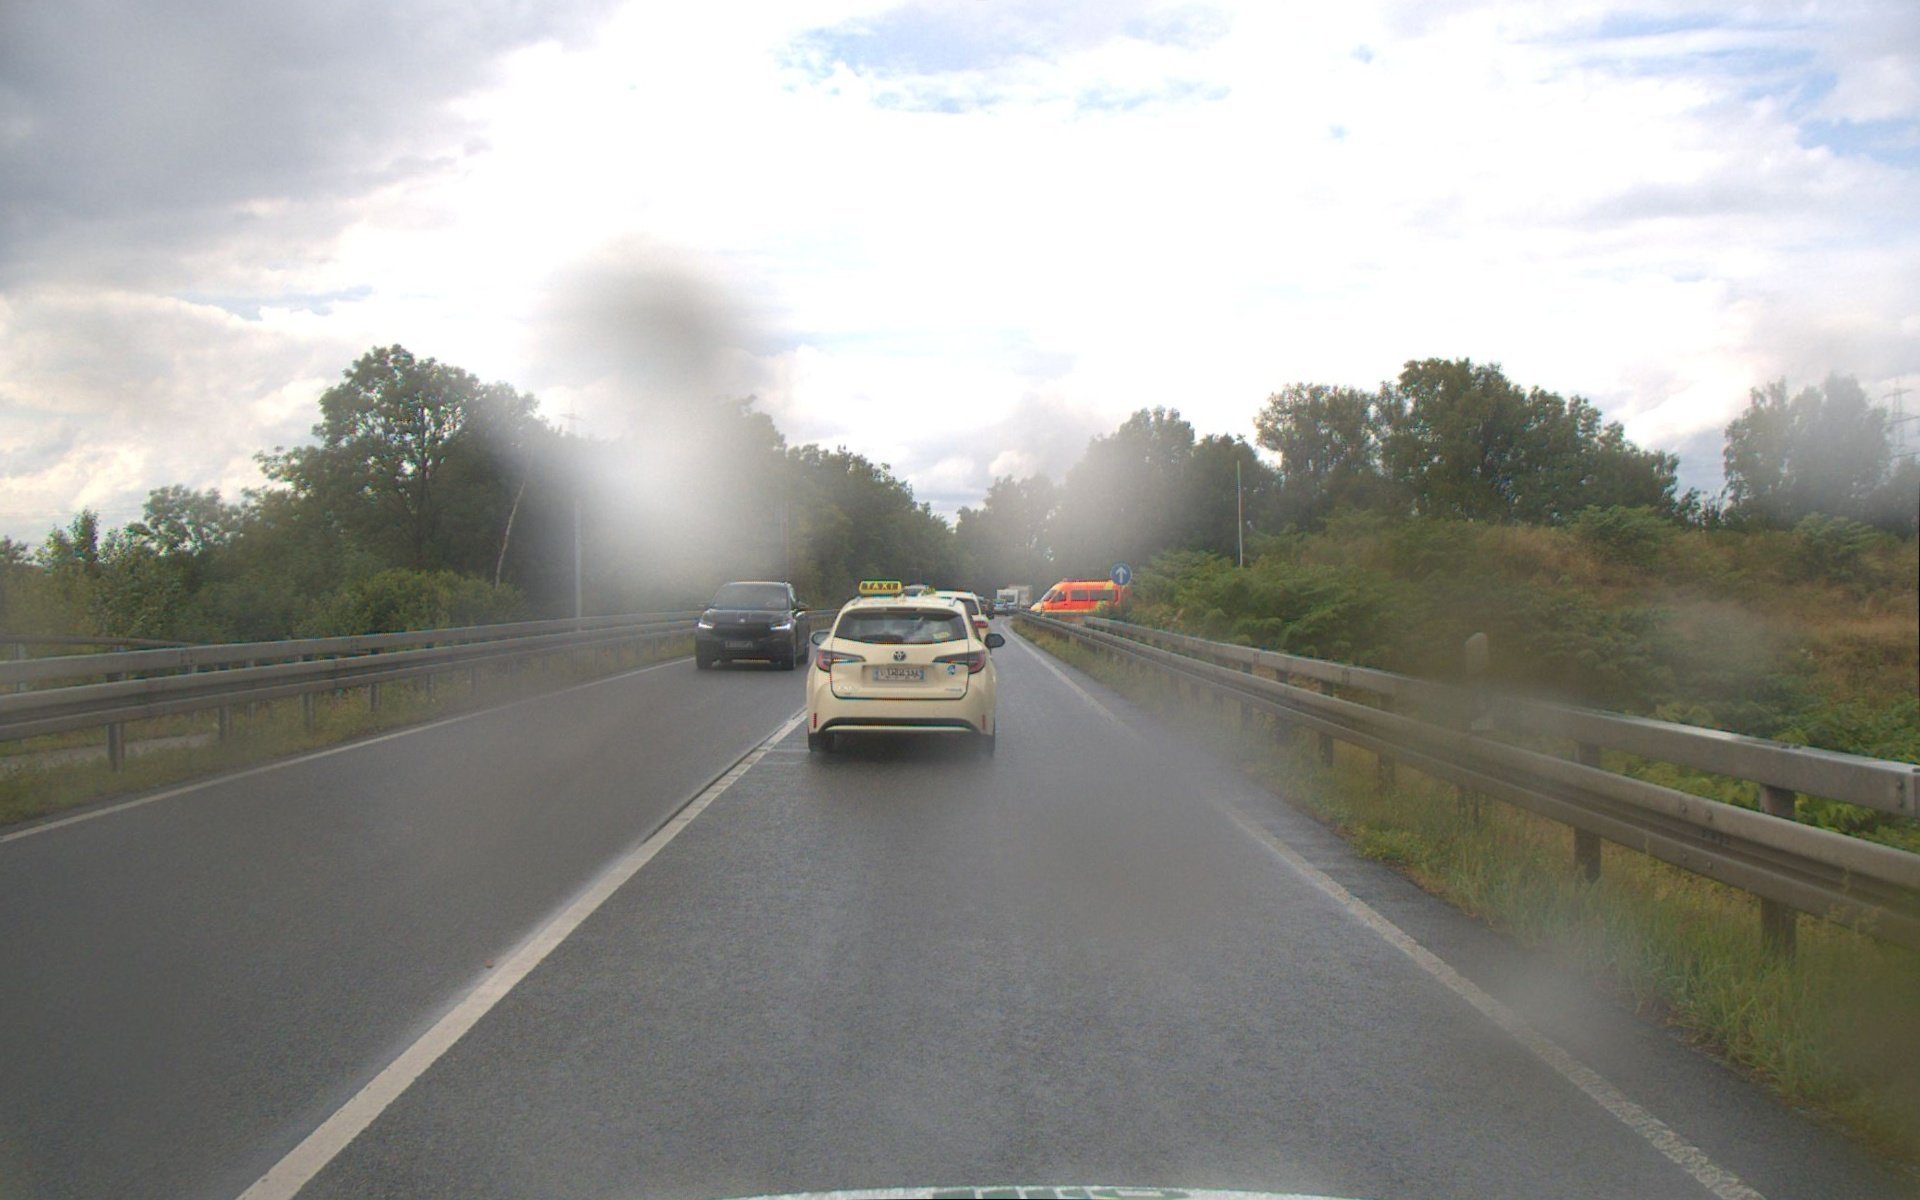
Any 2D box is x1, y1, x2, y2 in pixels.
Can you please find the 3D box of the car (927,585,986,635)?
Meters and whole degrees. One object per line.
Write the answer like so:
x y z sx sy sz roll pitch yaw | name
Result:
-0.143 0.283 53.467 1.817 1.468 4.170 1 1 -1 | car

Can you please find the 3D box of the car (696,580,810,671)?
-3.898 0.431 31.749 1.743 1.588 4.301 1 1 -2 | car

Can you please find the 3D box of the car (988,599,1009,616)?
3.493 0.693 149.856 1.816 1.468 4.172 1 1 3 | car

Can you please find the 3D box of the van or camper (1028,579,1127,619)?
7.027 -0.049 99.007 5.585 2.280 2.012 1 1 -16 | van or camper

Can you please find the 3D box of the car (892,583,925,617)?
-3.359 -0.031 108.707 1.953 2.165 4.895 1 1 0 | car

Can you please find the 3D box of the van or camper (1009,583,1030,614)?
7.195 -0.246 199.346 2.285 3.624 6.307 1 1 0 | van or camper

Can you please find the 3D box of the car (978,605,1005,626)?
2.345 1.121 122.754 1.816 1.468 4.172 1 1 3 | car

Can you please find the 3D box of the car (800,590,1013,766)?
-0.498 0.663 16.334 1.817 1.418 4.170 1 1 -1 | car

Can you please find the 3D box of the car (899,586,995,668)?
-0.283 0.499 33.571 1.817 1.468 4.170 1 1 -1 | car

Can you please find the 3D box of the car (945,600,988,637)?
0.269 0.786 73.729 1.817 1.468 4.170 1 1 -1 | car

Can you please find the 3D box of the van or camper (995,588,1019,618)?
4.886 0.283 172.204 2.285 2.914 6.307 1 1 0 | van or camper
